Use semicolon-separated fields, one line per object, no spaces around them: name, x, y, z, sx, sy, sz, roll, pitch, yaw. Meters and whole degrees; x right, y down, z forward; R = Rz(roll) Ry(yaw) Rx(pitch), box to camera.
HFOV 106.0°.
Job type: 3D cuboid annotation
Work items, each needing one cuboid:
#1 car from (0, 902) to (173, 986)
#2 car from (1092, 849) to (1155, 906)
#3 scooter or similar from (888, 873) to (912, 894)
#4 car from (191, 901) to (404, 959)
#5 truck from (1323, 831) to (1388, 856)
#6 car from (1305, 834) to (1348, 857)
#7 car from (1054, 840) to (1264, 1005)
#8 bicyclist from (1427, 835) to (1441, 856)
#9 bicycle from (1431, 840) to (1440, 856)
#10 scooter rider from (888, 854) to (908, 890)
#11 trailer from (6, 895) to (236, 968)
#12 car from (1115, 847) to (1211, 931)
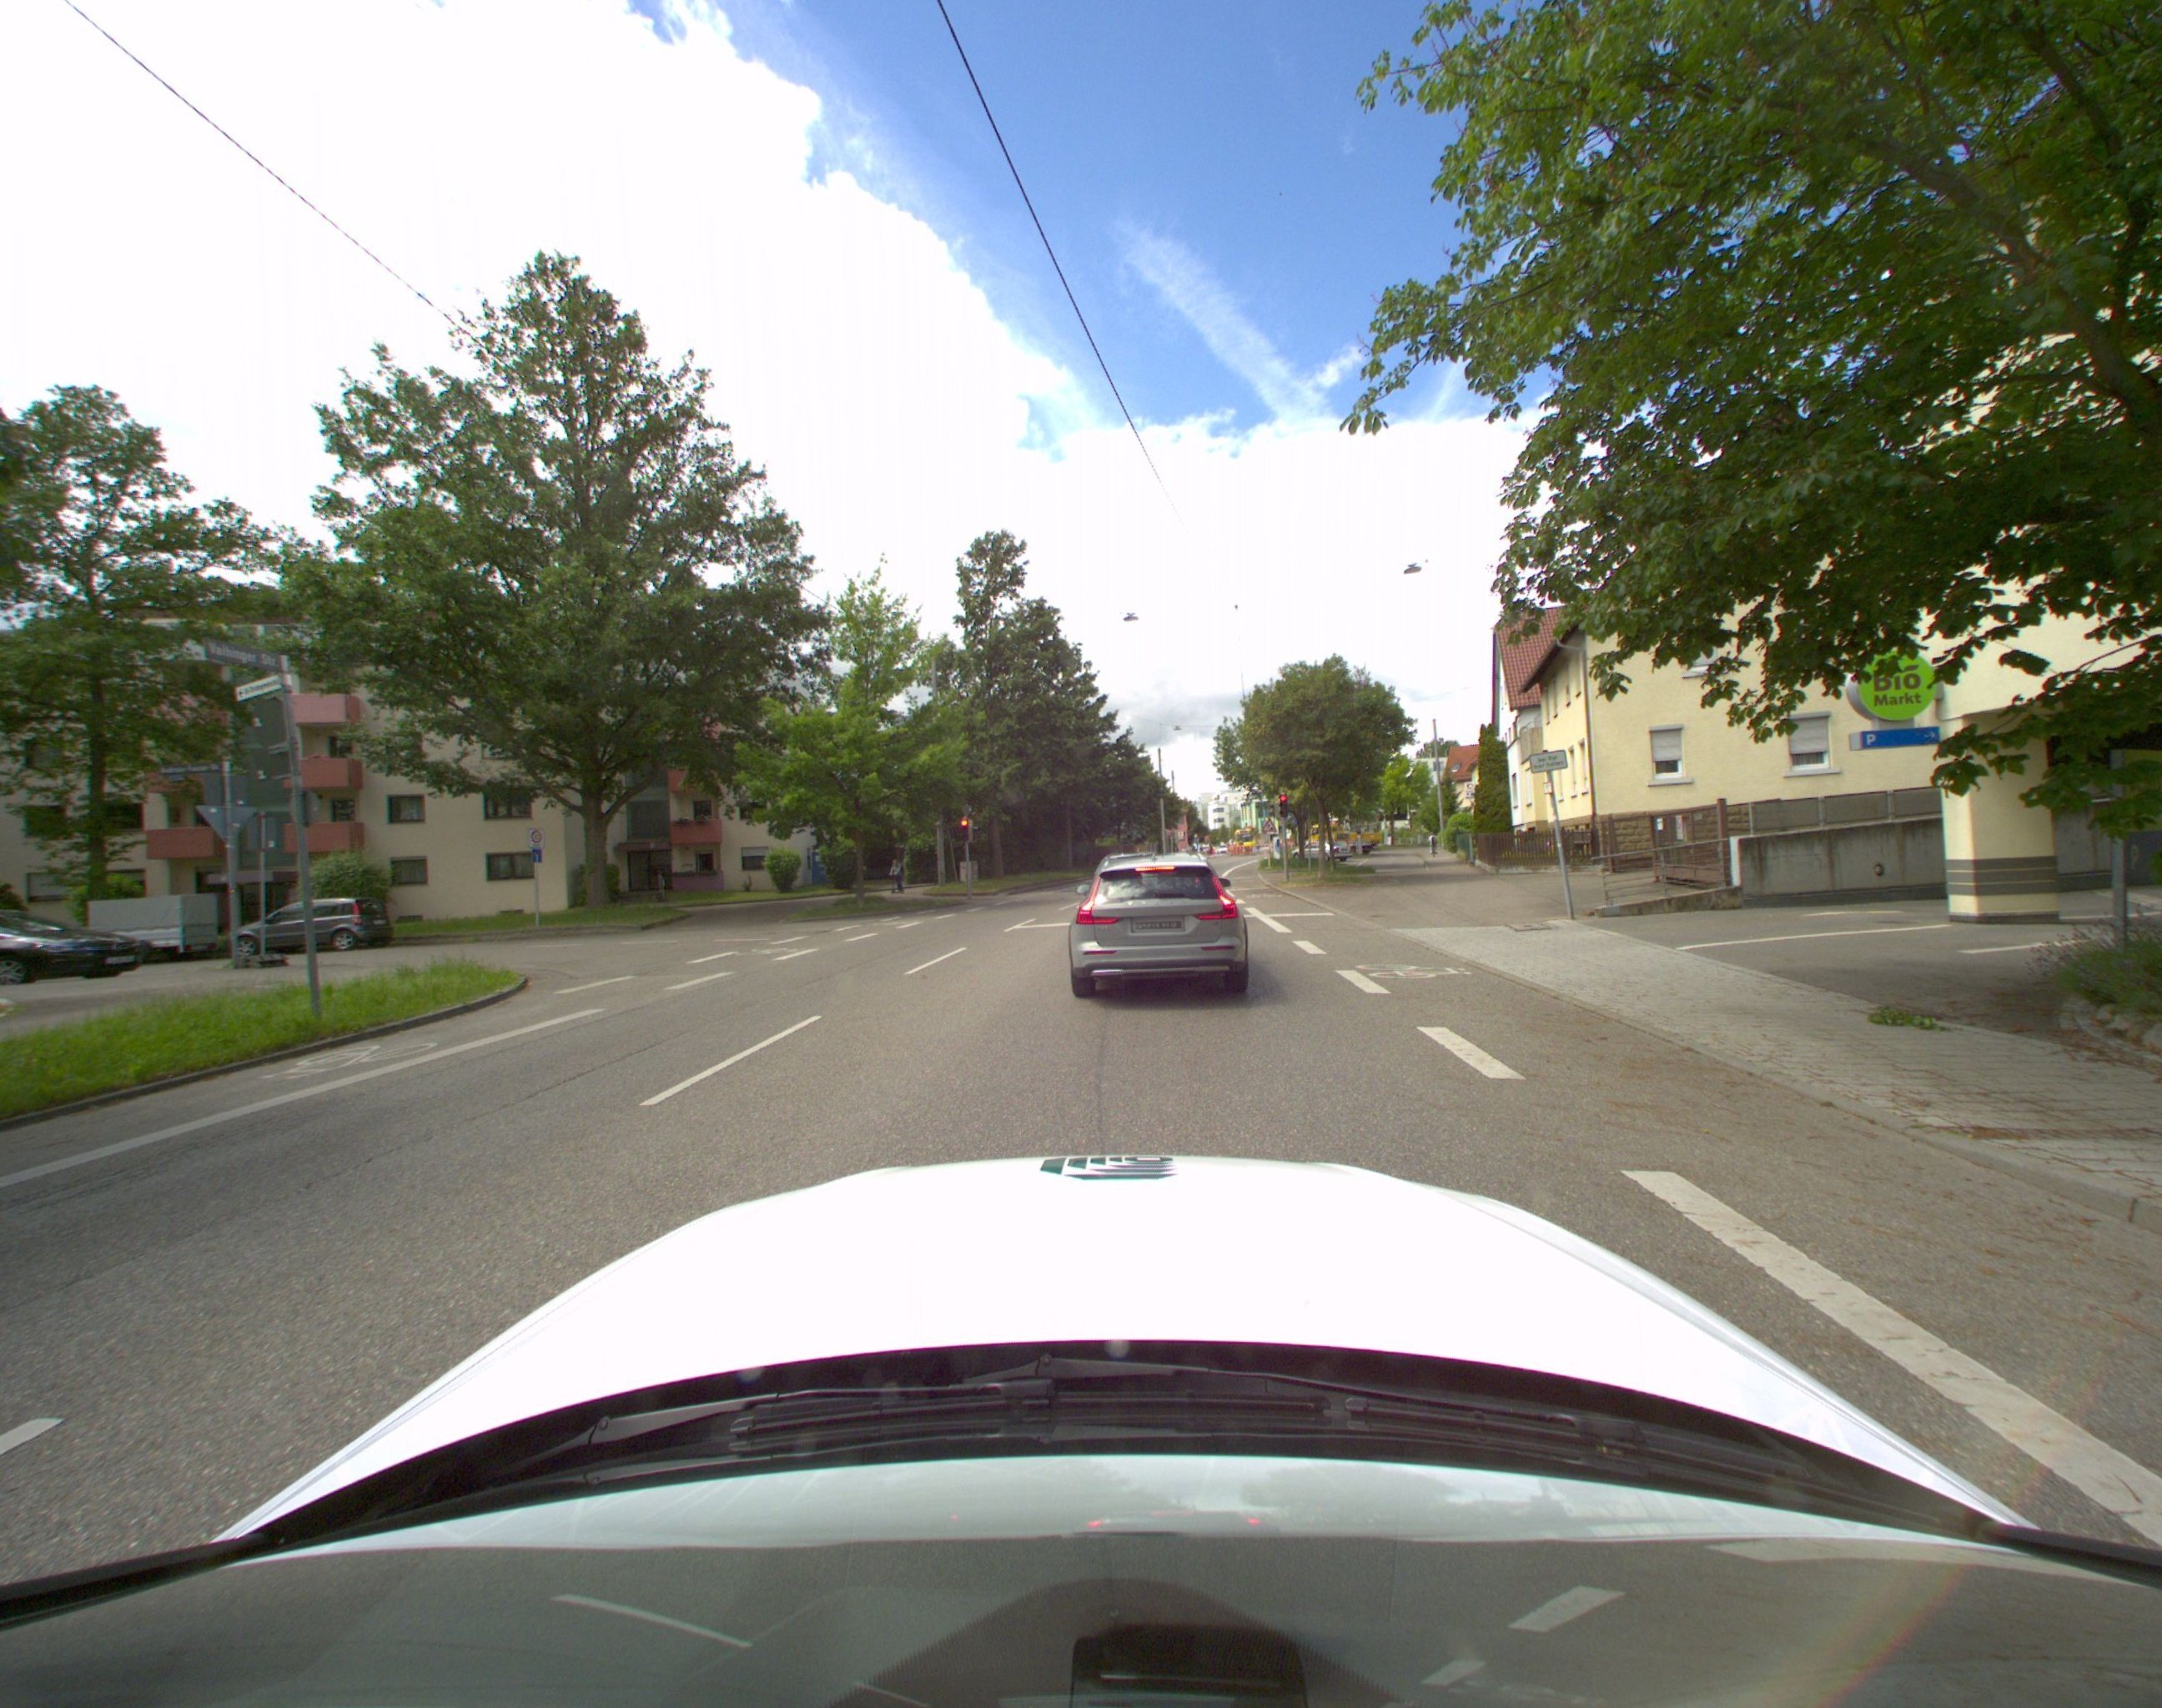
car;-19.661;1.667;14.717;4.075;1.400;1.789;-2;-4;-8
car;1.266;0.714;25.617;1.798;1.616;4.329;1;-1;1
scooter or similar;-8.889;1.443;40.028;0.960;0.962;0.683;-2;-1;-35
car;-22.374;2.156;23.415;4.075;1.400;1.789;-2;-4;-8
truck;23.539;-0.915;69.759;5.634;2.014;2.068;-1;-1;-32
car;22.531;-0.791;74.741;3.784;2.014;1.723;-1;-1;-36
car;0.949;0.642;9.964;1.946;1.523;4.336;-2;0;5
bicyclist;23.795;-0.589;54.919;0.771;1.399;0.706;-2;-1;21
bicycle;23.906;-0.413;54.927;0.457;1.035;2.778;-2;-1;22
scooter rider;-8.976;0.870;39.992;0.710;1.727;0.673;-1;-2;-34
trailer;-26.570;2.123;22.687;3.907;1.799;1.624;-2;-4;-10
car;1.780;0.646;17.613;1.795;1.523;4.337;0;1;6
